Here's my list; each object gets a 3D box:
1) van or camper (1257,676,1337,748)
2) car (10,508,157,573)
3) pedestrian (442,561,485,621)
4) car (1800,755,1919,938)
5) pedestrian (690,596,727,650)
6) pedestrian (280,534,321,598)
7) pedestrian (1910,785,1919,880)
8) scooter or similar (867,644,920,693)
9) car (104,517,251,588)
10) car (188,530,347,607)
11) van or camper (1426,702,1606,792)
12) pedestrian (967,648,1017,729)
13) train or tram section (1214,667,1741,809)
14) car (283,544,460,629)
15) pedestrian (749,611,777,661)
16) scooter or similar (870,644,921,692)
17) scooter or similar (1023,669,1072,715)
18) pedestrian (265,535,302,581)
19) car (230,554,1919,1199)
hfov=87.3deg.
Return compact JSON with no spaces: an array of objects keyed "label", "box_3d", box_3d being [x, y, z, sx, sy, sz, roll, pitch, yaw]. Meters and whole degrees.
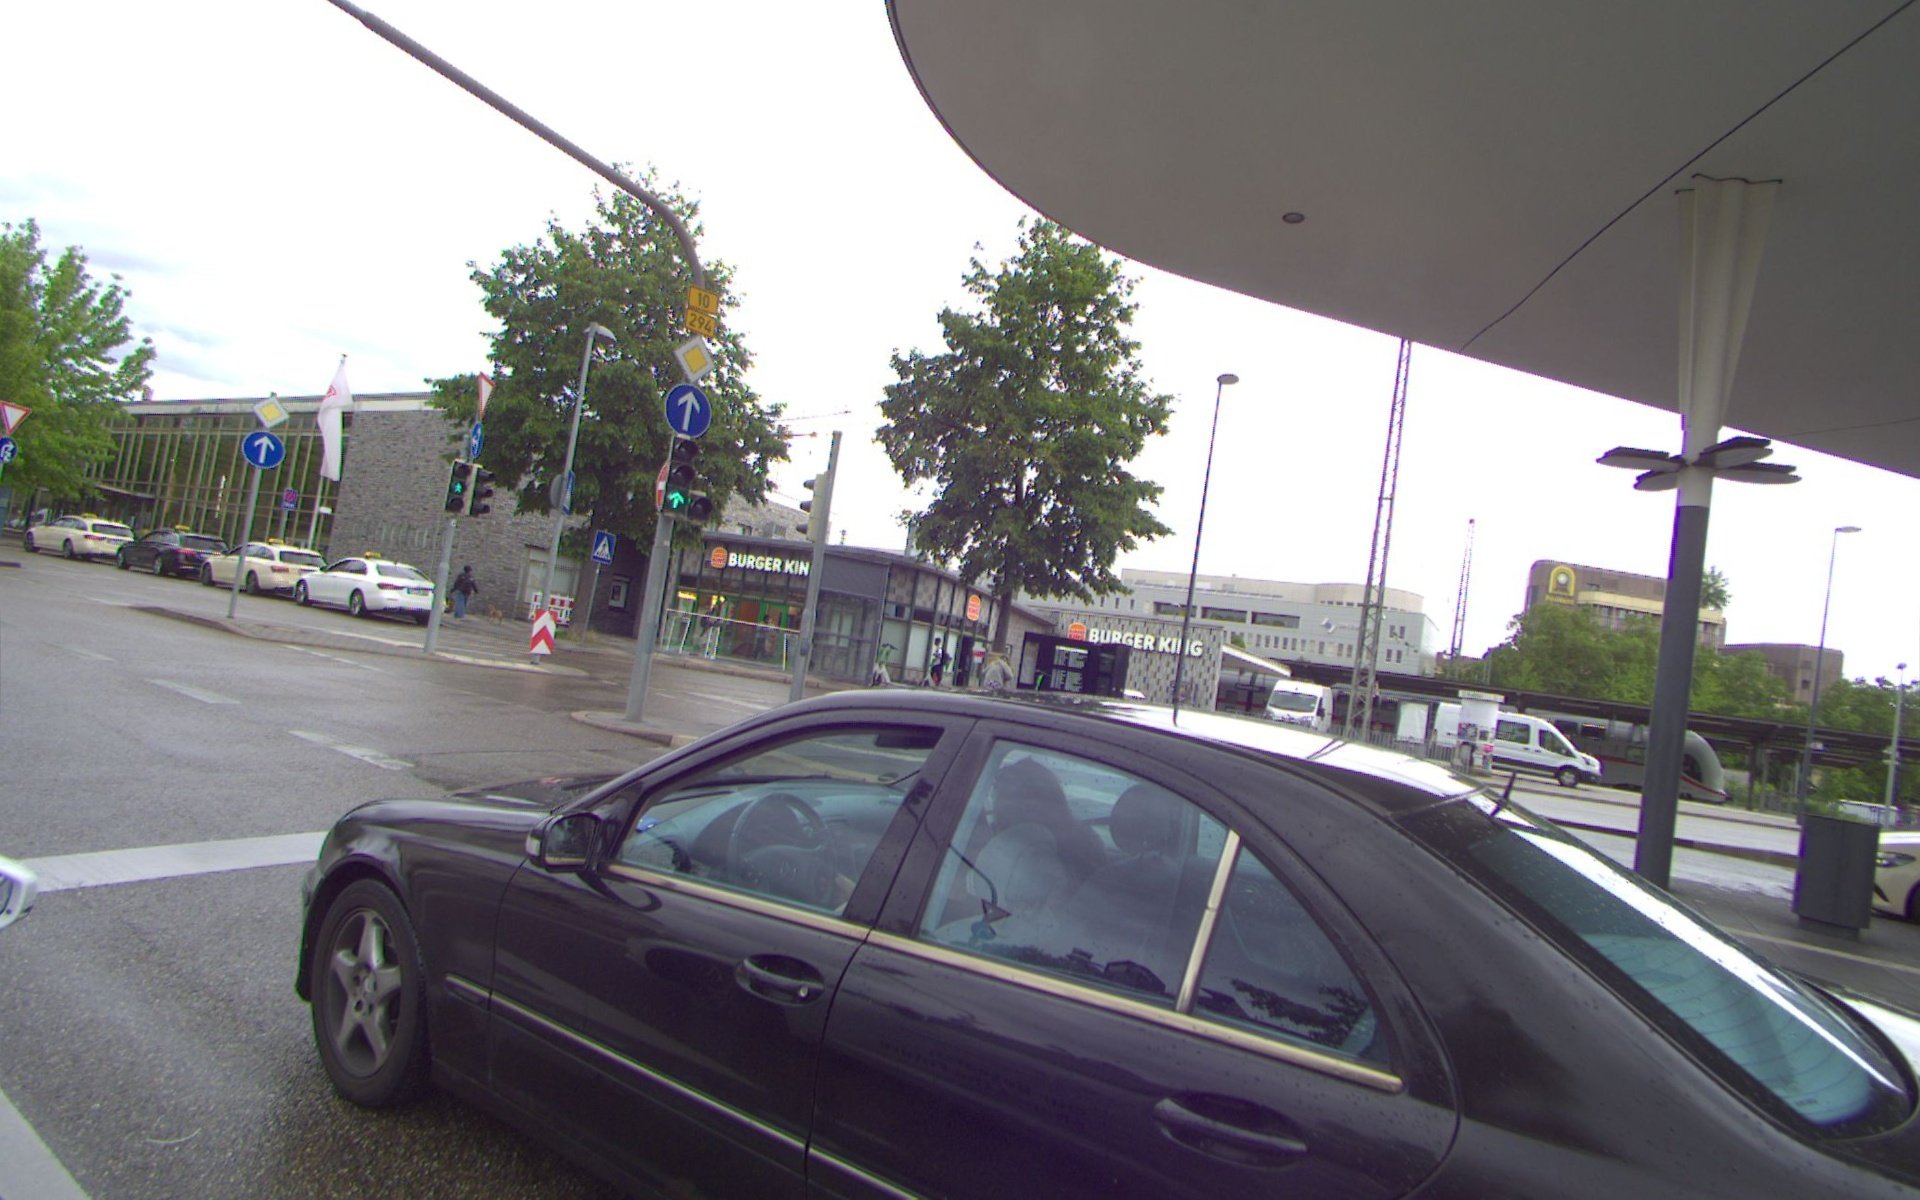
[{"label":"van or camper","box_3d":[13.827,4.517,40.972,2.127,2.461,5.863,6,-2,26]},{"label":"car","box_3d":[-30.843,-2.103,35.386,4.870,1.618,2.000,7,-2,25]},{"label":"pedestrian","box_3d":[-14.508,-0.257,29.430,0.784,1.645,0.721,7,-1,-11]},{"label":"car","box_3d":[11.728,2.841,10.280,4.468,1.700,1.997,6,-2,33]},{"label":"pedestrian","box_3d":[-8.456,0.758,33.790,0.787,1.687,0.719,6,-1,43]},{"label":"pedestrian","box_3d":[-23.688,-1.214,36.124,0.711,2.189,0.796,6,-1,32]},{"label":"pedestrian","box_3d":[16.480,3.922,16.805,0.638,1.614,0.732,8,-1,-43]},{"label":"scooter or similar","box_3d":[-1.822,1.874,27.660,1.280,1.196,0.333,7,-1,0]},{"label":"car","box_3d":[-25.195,-1.545,32.352,4.876,1.616,1.999,7,-3,32]},{"label":"car","box_3d":[-20.069,-0.935,29.093,4.878,1.618,1.996,7,-2,33]},{"label":"van or camper","box_3d":[21.426,5.605,38.891,5.769,2.462,1.996,6,-2,33]},{"label":"pedestrian","box_3d":[0.665,1.814,20.774,0.824,1.547,0.638,7,-1,3]},{"label":"train or tram section","box_3d":[31.224,8.218,64.257,28.833,4.230,4.598,6,-2,33]},{"label":"car","box_3d":[-15.220,-0.368,25.933,4.824,1.618,1.882,6,-2,33]},{"label":"pedestrian","box_3d":[-6.982,1.269,35.655,0.712,1.687,0.794,7,-1,-19]},{"label":"scooter or similar","box_3d":[-1.814,1.899,28.262,1.280,1.196,0.333,7,-1,0]},{"label":"scooter or similar","box_3d":[2.557,2.702,29.579,1.280,1.196,0.333,7,-1,0]},{"label":"pedestrian","box_3d":[-25.157,-1.555,37.427,0.698,1.598,0.770,6,-1,29]},{"label":"car","box_3d":[0.164,0.871,2.576,4.379,1.482,1.697,6,-2,33]}]
